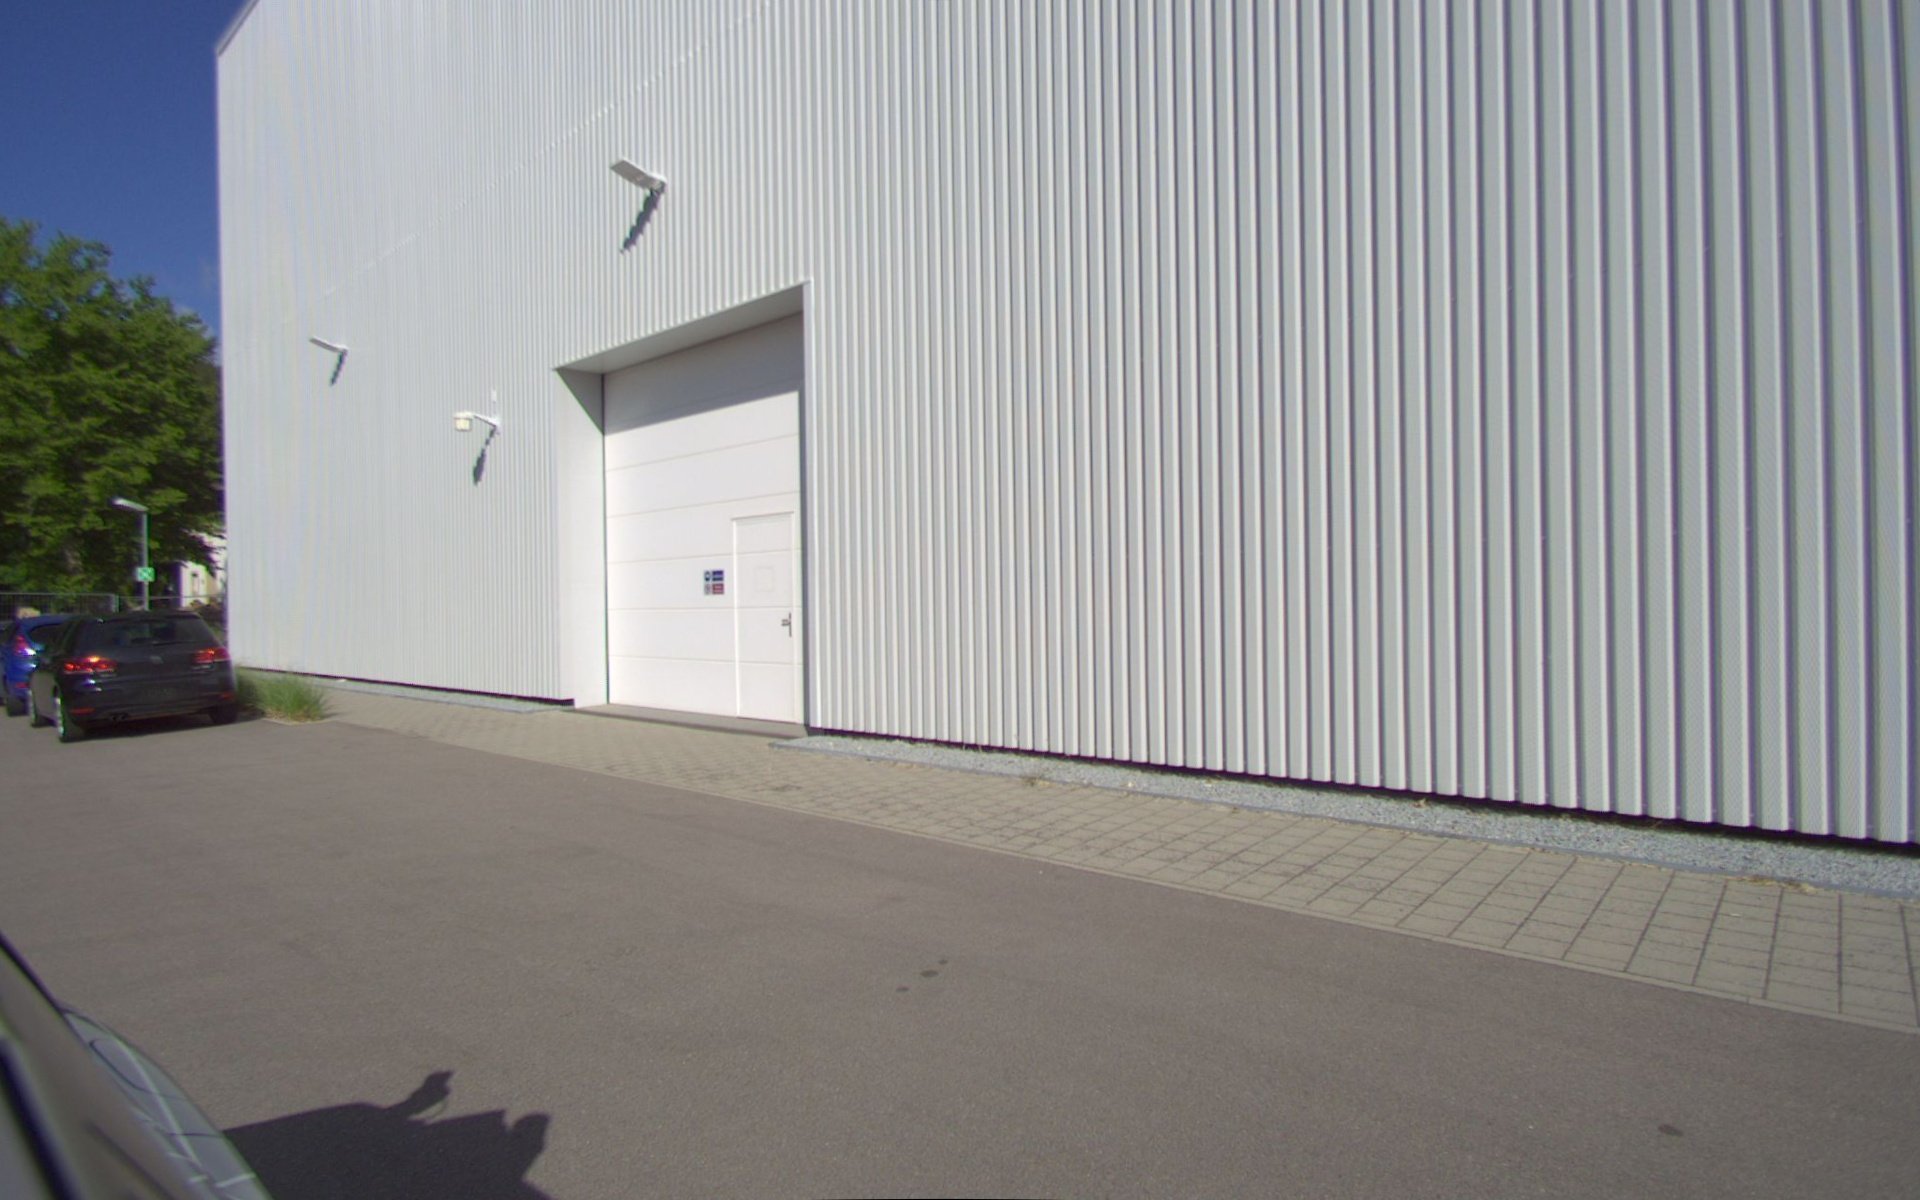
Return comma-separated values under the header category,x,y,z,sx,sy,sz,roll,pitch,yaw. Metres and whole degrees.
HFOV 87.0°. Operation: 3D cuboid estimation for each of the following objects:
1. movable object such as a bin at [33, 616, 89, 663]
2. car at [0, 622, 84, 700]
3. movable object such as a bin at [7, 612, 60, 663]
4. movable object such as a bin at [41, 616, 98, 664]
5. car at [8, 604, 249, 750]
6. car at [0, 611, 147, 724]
category,x,y,z,sx,sy,sz,roll,pitch,yaw
movable object such as a bin,-29.474,1.275,33.179,1.228,1.450,1.080,0,1,36
car,-18.798,1.155,19.919,4.051,1.371,1.756,-1,0,41
movable object such as a bin,-31.205,1.247,34.078,1.228,1.609,1.080,1,1,36
movable object such as a bin,-28.449,1.251,32.327,1.228,1.443,1.080,0,1,36
car,-10.830,0.873,13.068,4.292,1.511,1.736,-1,1,42
car,-14.634,0.996,16.299,4.092,1.511,1.614,-1,2,40
